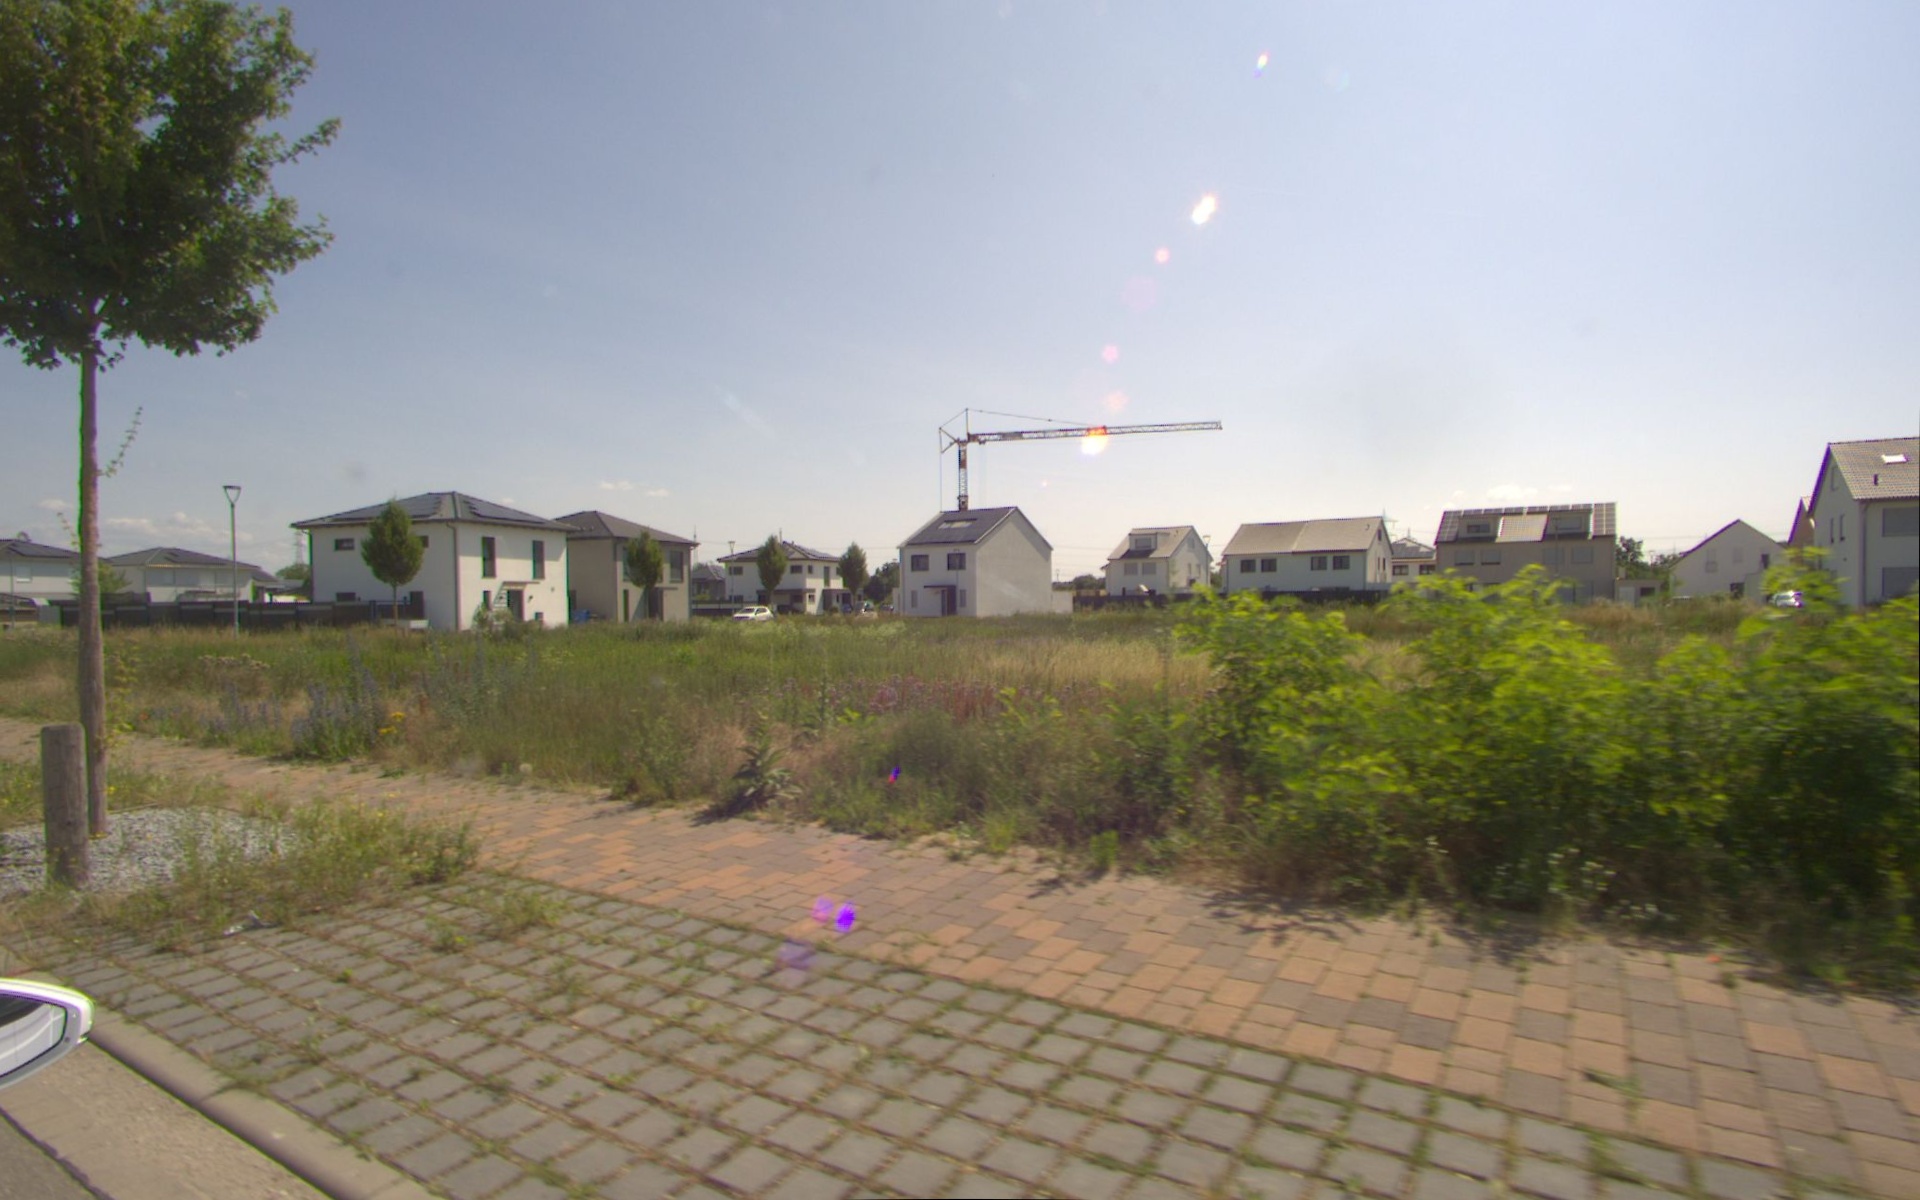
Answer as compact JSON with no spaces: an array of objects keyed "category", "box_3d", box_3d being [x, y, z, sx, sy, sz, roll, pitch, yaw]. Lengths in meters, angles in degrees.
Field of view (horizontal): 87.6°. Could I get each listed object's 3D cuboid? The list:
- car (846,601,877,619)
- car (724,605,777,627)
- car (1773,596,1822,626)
[{"category":"car","box_3d":[-10.420,1.060,106.142,1.795,1.776,4.235,0,0,15]},{"category":"car","box_3d":[-14.318,1.088,68.626,1.720,1.416,3.992,-1,-1,20]},{"category":"car","box_3d":[45.157,0.575,54.056,1.792,1.595,3.973,0,0,37]}]
